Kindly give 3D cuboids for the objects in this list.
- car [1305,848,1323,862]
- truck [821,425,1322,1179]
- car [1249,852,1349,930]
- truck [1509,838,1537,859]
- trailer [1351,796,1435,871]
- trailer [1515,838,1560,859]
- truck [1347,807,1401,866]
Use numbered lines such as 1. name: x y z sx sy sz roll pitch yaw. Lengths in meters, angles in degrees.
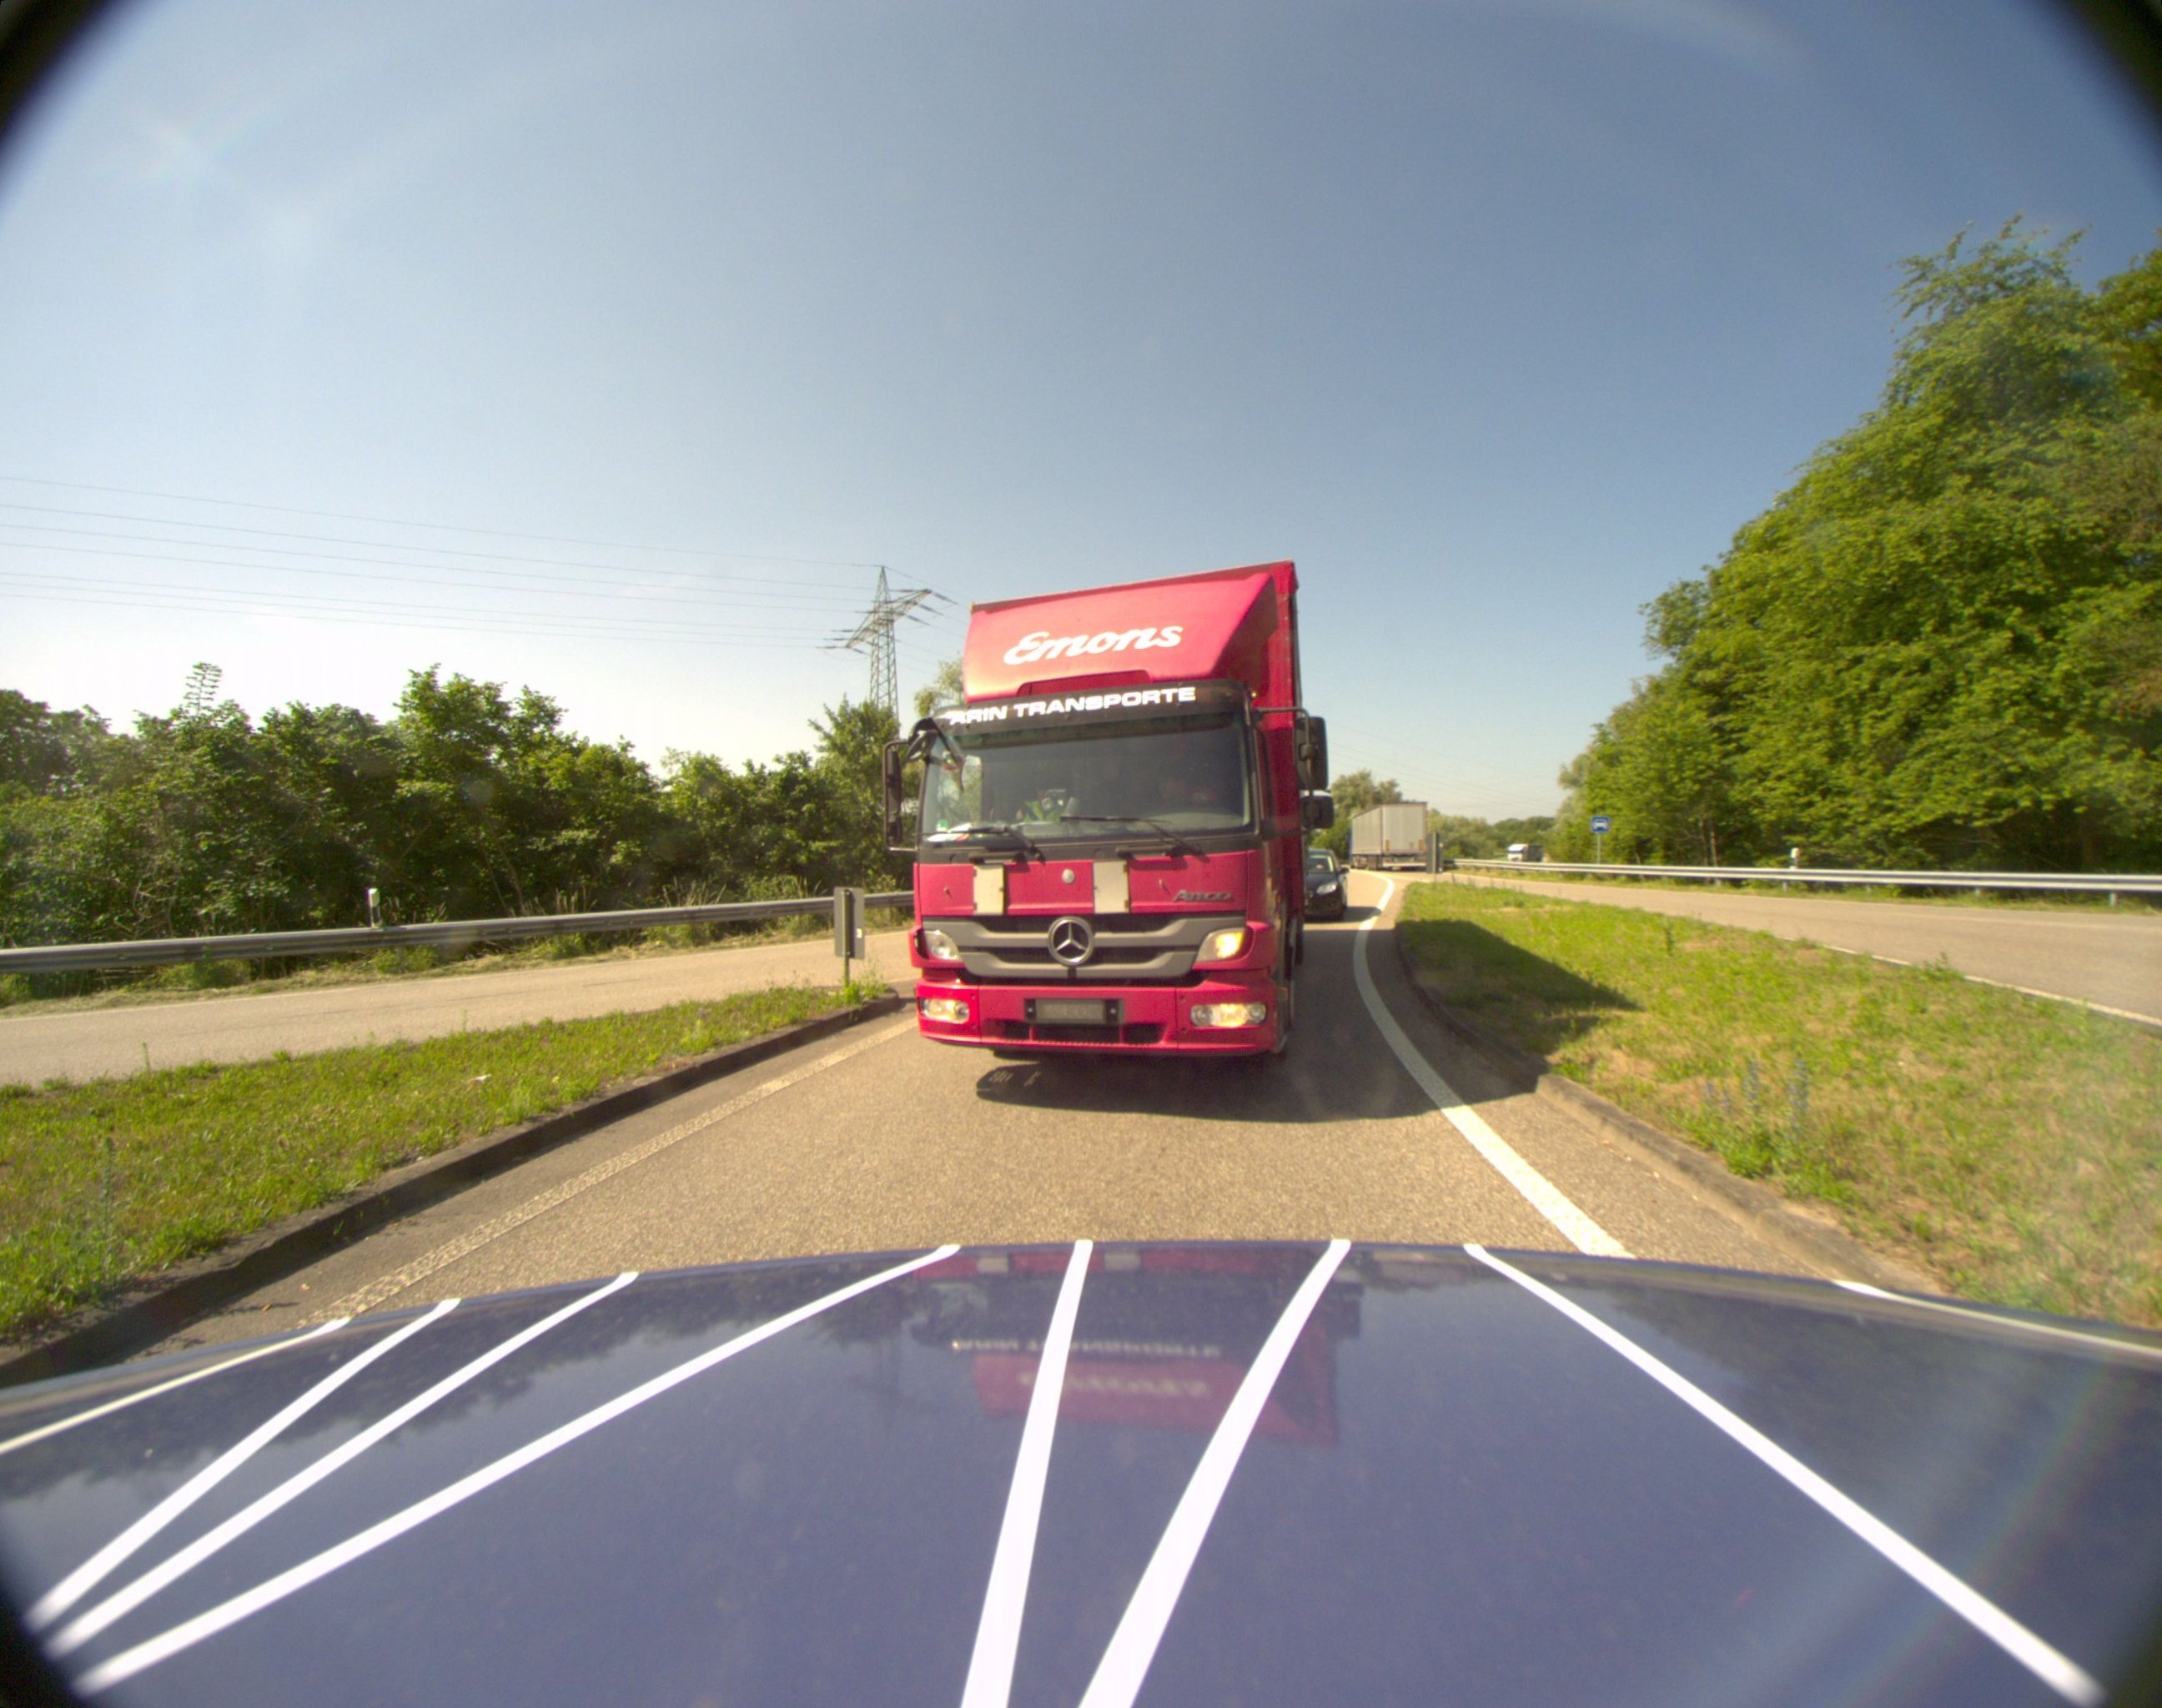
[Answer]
1. car: 25.498 0.087 83.252 1.785 1.377 4.383 -2 0 17
2. truck: 1.166 -0.267 8.493 2.686 3.640 9.273 -1 0 17
3. car: 4.823 0.714 16.428 1.785 1.406 4.005 -1 0 20
4. truck: 89.838 -1.047 154.373 5.744 4.214 2.932 0 1 -37
5. trailer: 20.214 -1.195 50.215 2.954 4.243 13.995 1 1 13
6. trailer: 95.160 -1.052 158.366 14.008 4.216 2.922 0 1 -37
7. truck: 21.819 -1.278 56.939 2.935 4.222 5.738 1 1 13
